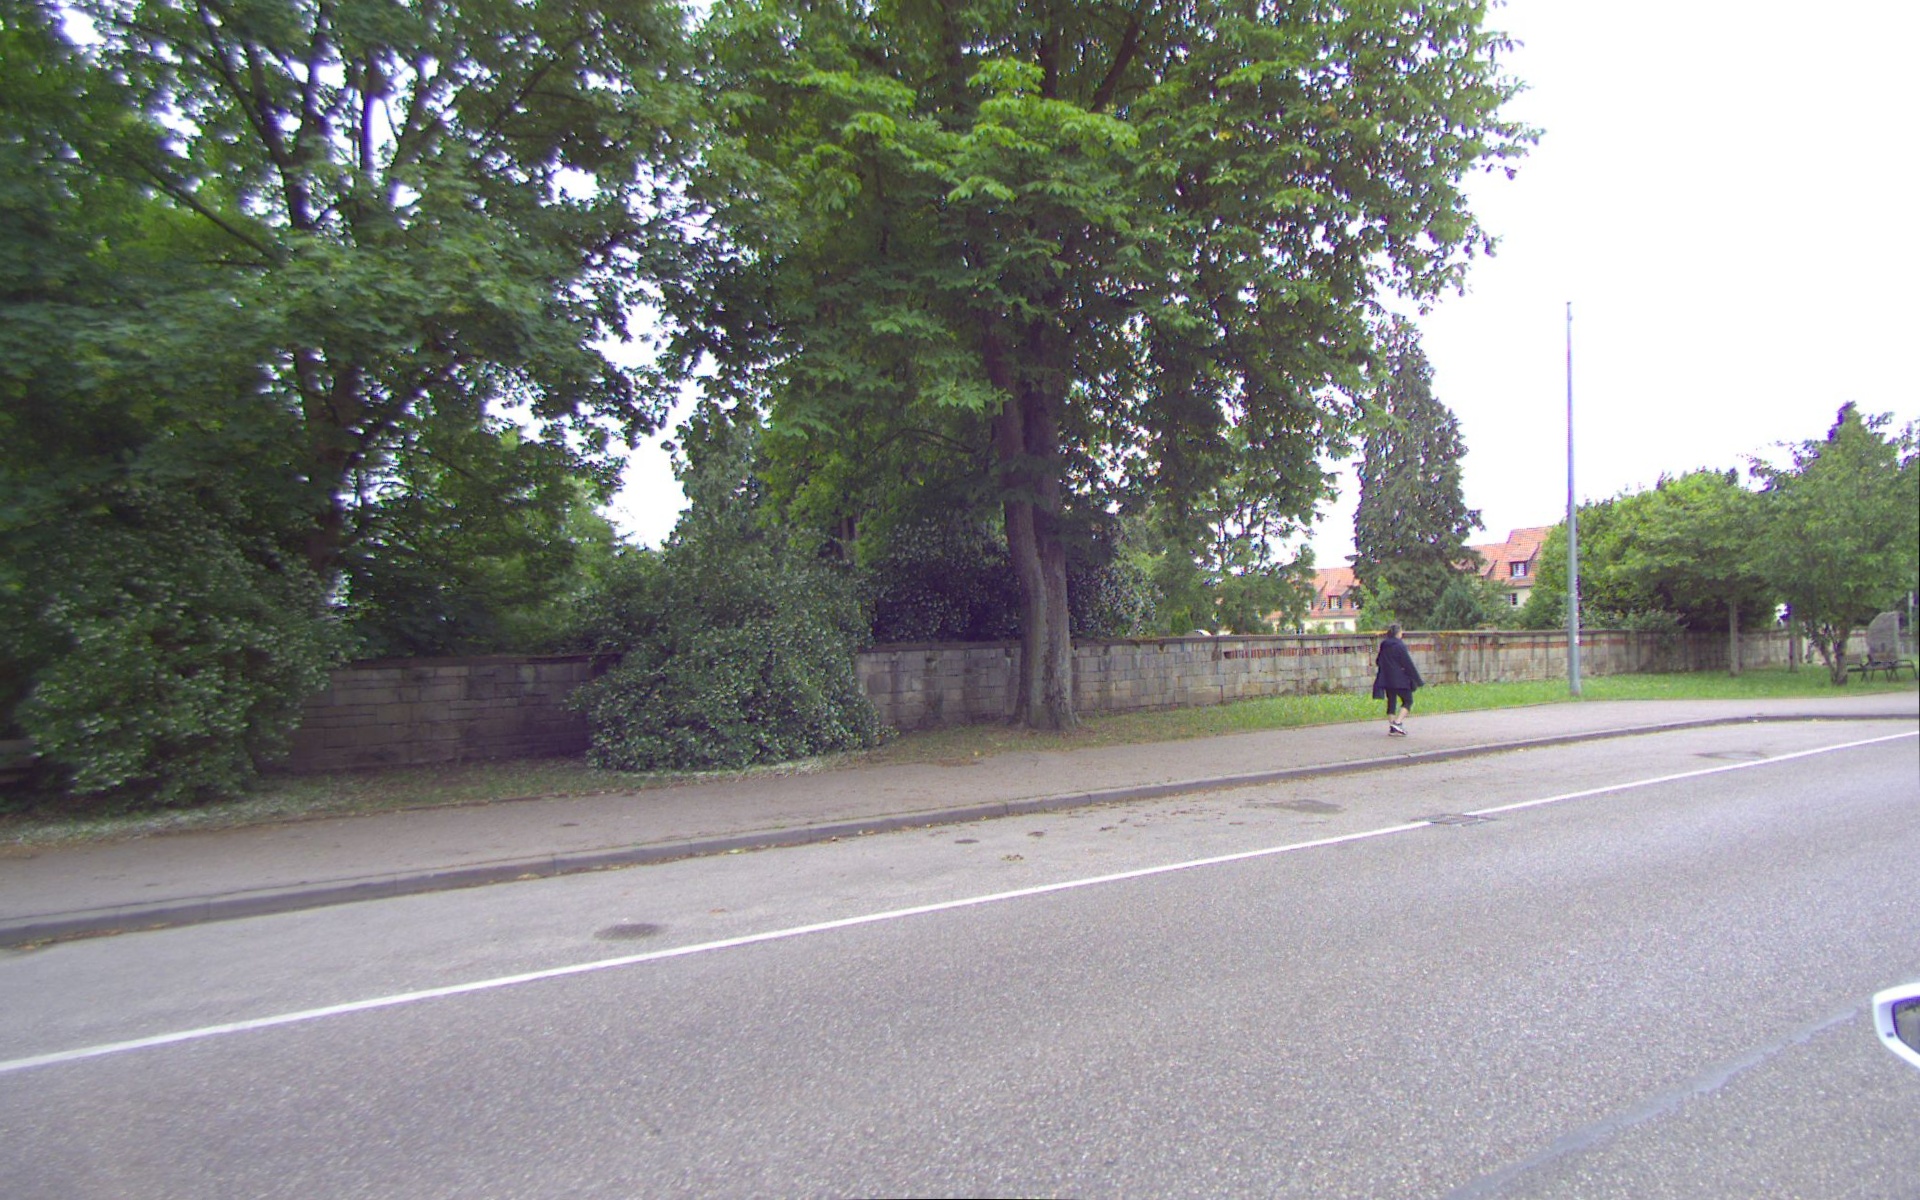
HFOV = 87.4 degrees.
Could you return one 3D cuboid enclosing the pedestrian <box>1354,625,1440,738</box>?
[{"bbox_3d":[6.444,1.173,14.809,0.955,1.599,0.745,0,-1,-30],"label":"pedestrian"}]
